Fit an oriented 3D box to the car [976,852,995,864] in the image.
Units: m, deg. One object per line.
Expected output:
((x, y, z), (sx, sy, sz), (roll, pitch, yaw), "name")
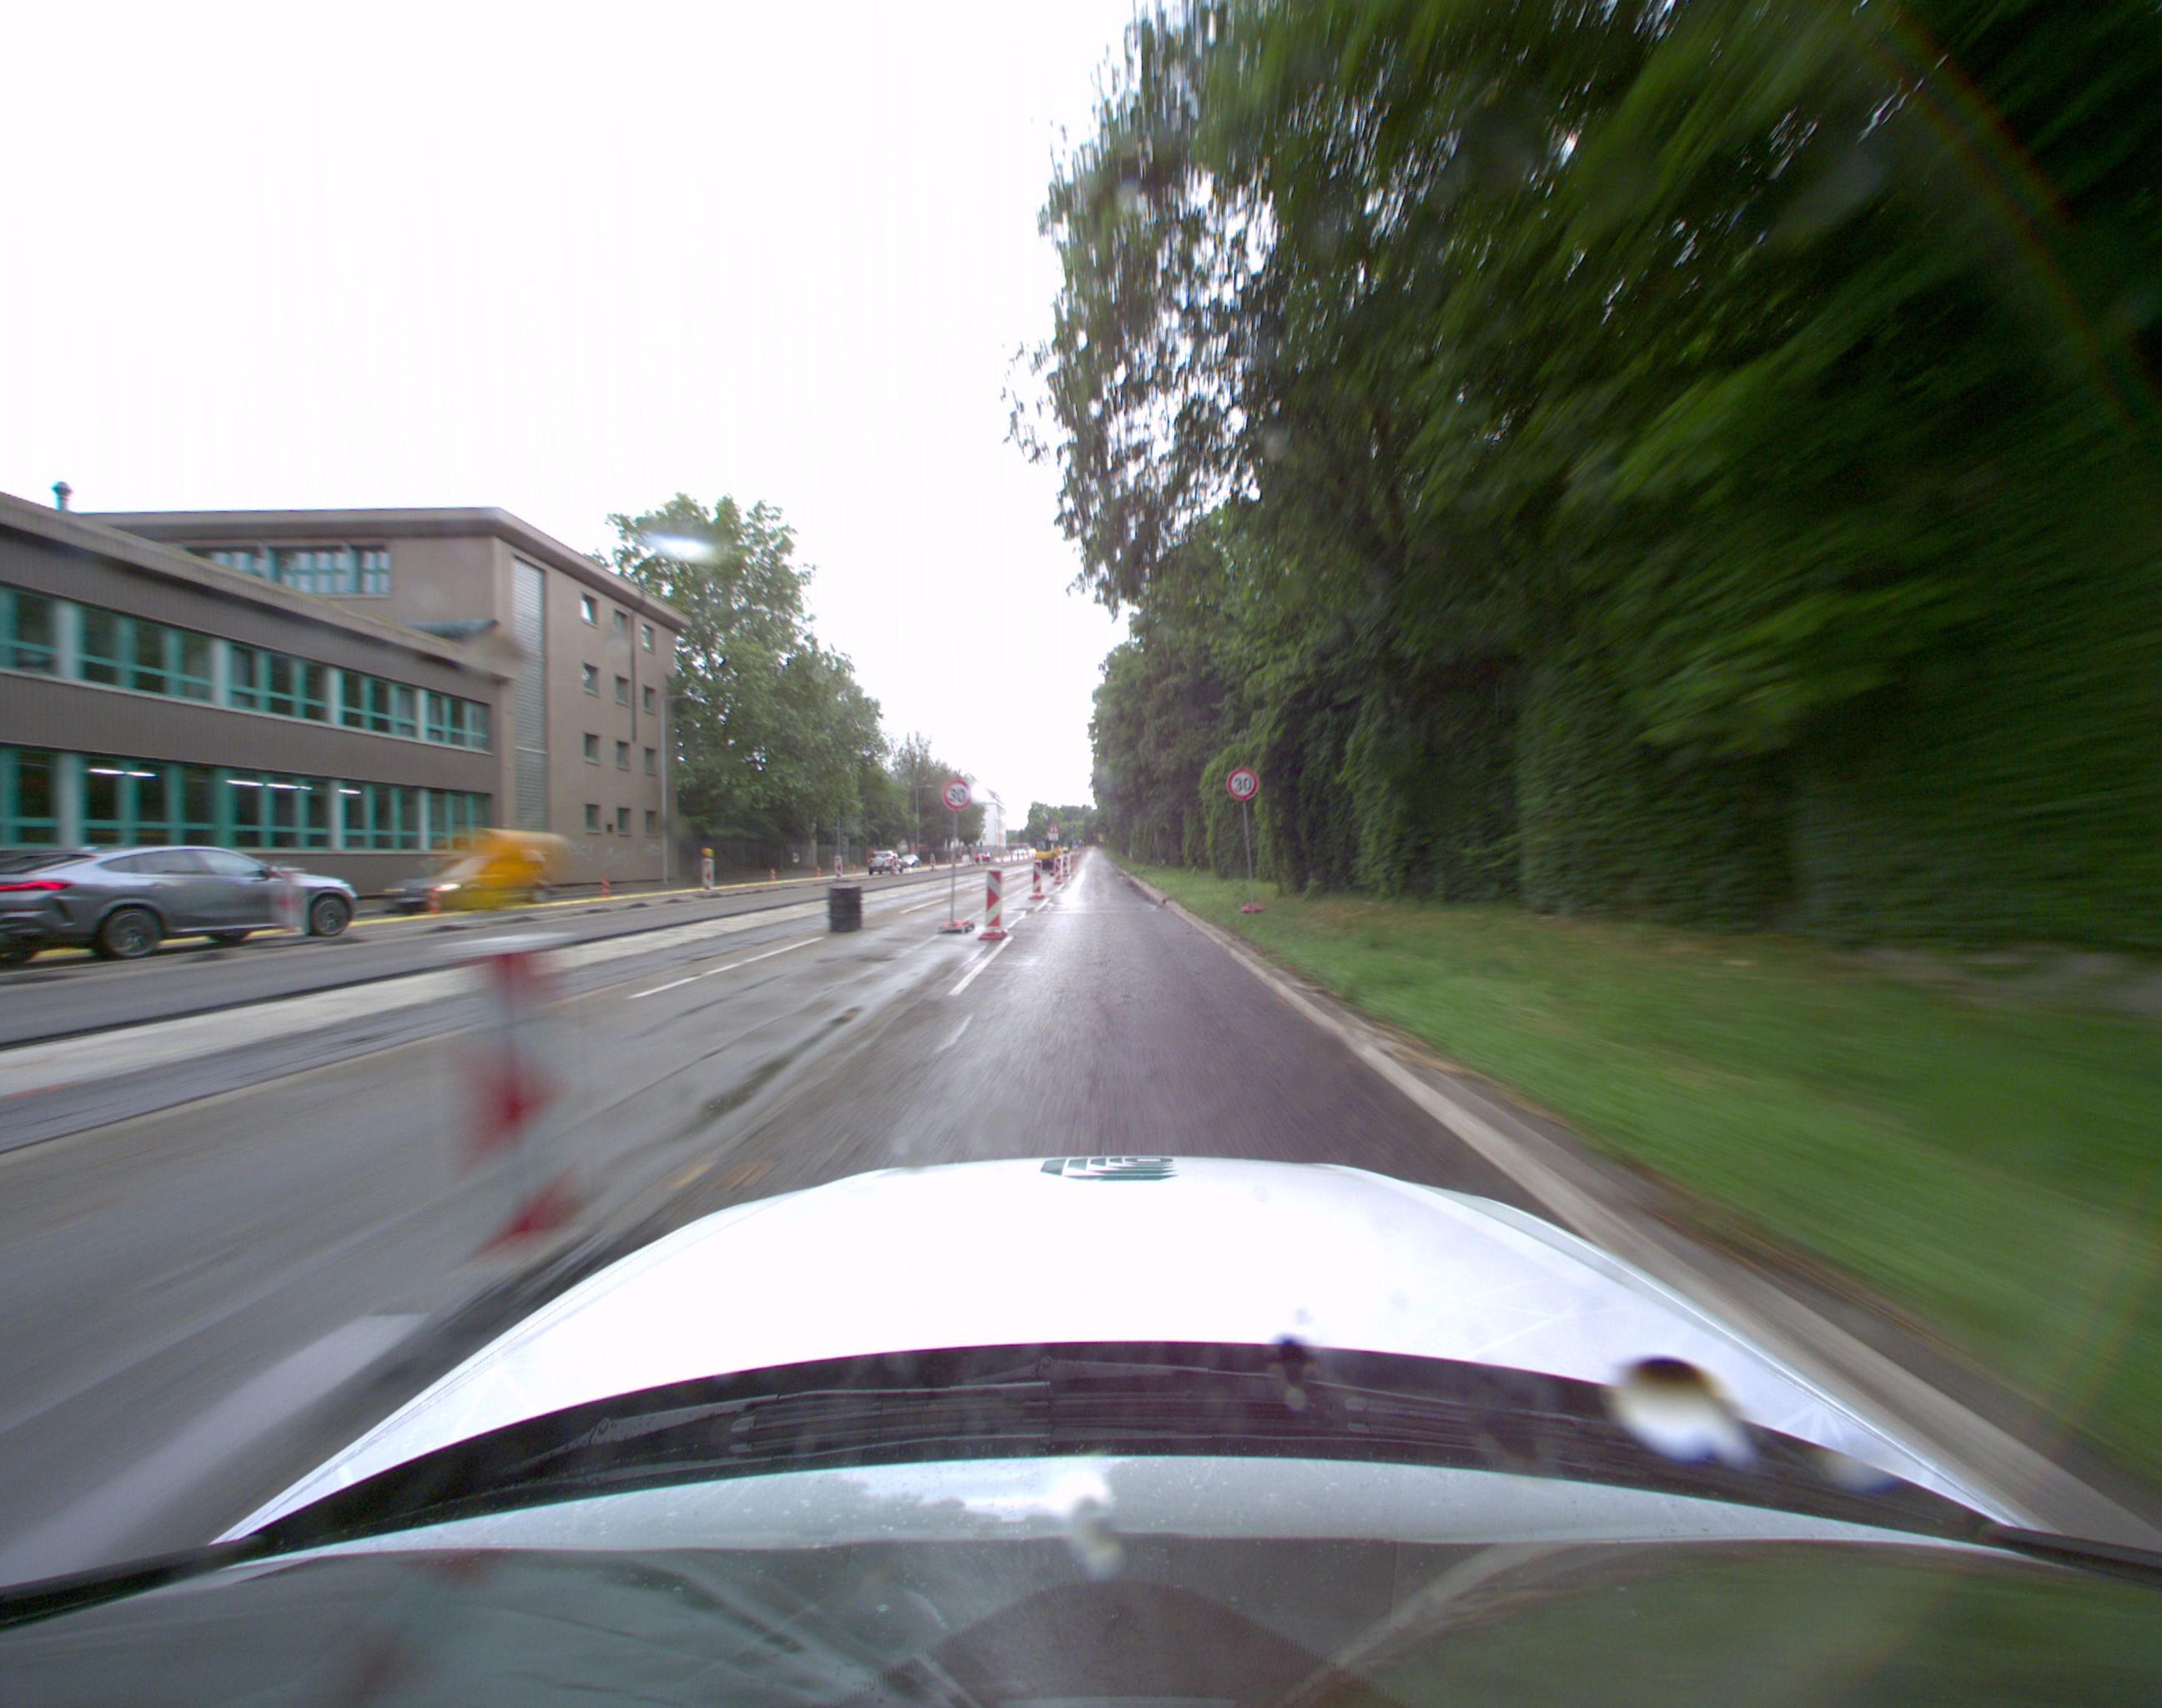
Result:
((-12.650, 0.527, 108.330), (1.987, 1.519, 4.000), (0, 0, 1), "car")

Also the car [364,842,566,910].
((-17.839, 0.595, 23.979), (1.985, 1.780, 4.958), (0, 0, 3), "car")

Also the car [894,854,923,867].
((-18.893, 0.682, 89.389), (1.986, 1.348, 4.792), (0, 0, 1), "car")

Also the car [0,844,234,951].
((-20.430, 0.793, 15.986), (1.987, 1.919, 5.363), (0, 0, 0), "car")

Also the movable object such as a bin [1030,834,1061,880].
((-2.710, 0.236, 62.995), (1.986, 3.367, 5.983), (0, -1, 1), "movable object such as a bin")

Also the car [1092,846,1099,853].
((3.897, -1.181, 219.393), (1.986, 1.673, 4.001), (0, 0, 1), "car")

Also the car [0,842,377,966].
((-14.599, 0.673, 13.129), (2.070, 1.613, 5.056), (0, 0, 0), "car")

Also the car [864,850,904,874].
((-13.937, 0.590, 57.856), (1.848, 1.648, 4.000), (0, 0, 1), "car")
